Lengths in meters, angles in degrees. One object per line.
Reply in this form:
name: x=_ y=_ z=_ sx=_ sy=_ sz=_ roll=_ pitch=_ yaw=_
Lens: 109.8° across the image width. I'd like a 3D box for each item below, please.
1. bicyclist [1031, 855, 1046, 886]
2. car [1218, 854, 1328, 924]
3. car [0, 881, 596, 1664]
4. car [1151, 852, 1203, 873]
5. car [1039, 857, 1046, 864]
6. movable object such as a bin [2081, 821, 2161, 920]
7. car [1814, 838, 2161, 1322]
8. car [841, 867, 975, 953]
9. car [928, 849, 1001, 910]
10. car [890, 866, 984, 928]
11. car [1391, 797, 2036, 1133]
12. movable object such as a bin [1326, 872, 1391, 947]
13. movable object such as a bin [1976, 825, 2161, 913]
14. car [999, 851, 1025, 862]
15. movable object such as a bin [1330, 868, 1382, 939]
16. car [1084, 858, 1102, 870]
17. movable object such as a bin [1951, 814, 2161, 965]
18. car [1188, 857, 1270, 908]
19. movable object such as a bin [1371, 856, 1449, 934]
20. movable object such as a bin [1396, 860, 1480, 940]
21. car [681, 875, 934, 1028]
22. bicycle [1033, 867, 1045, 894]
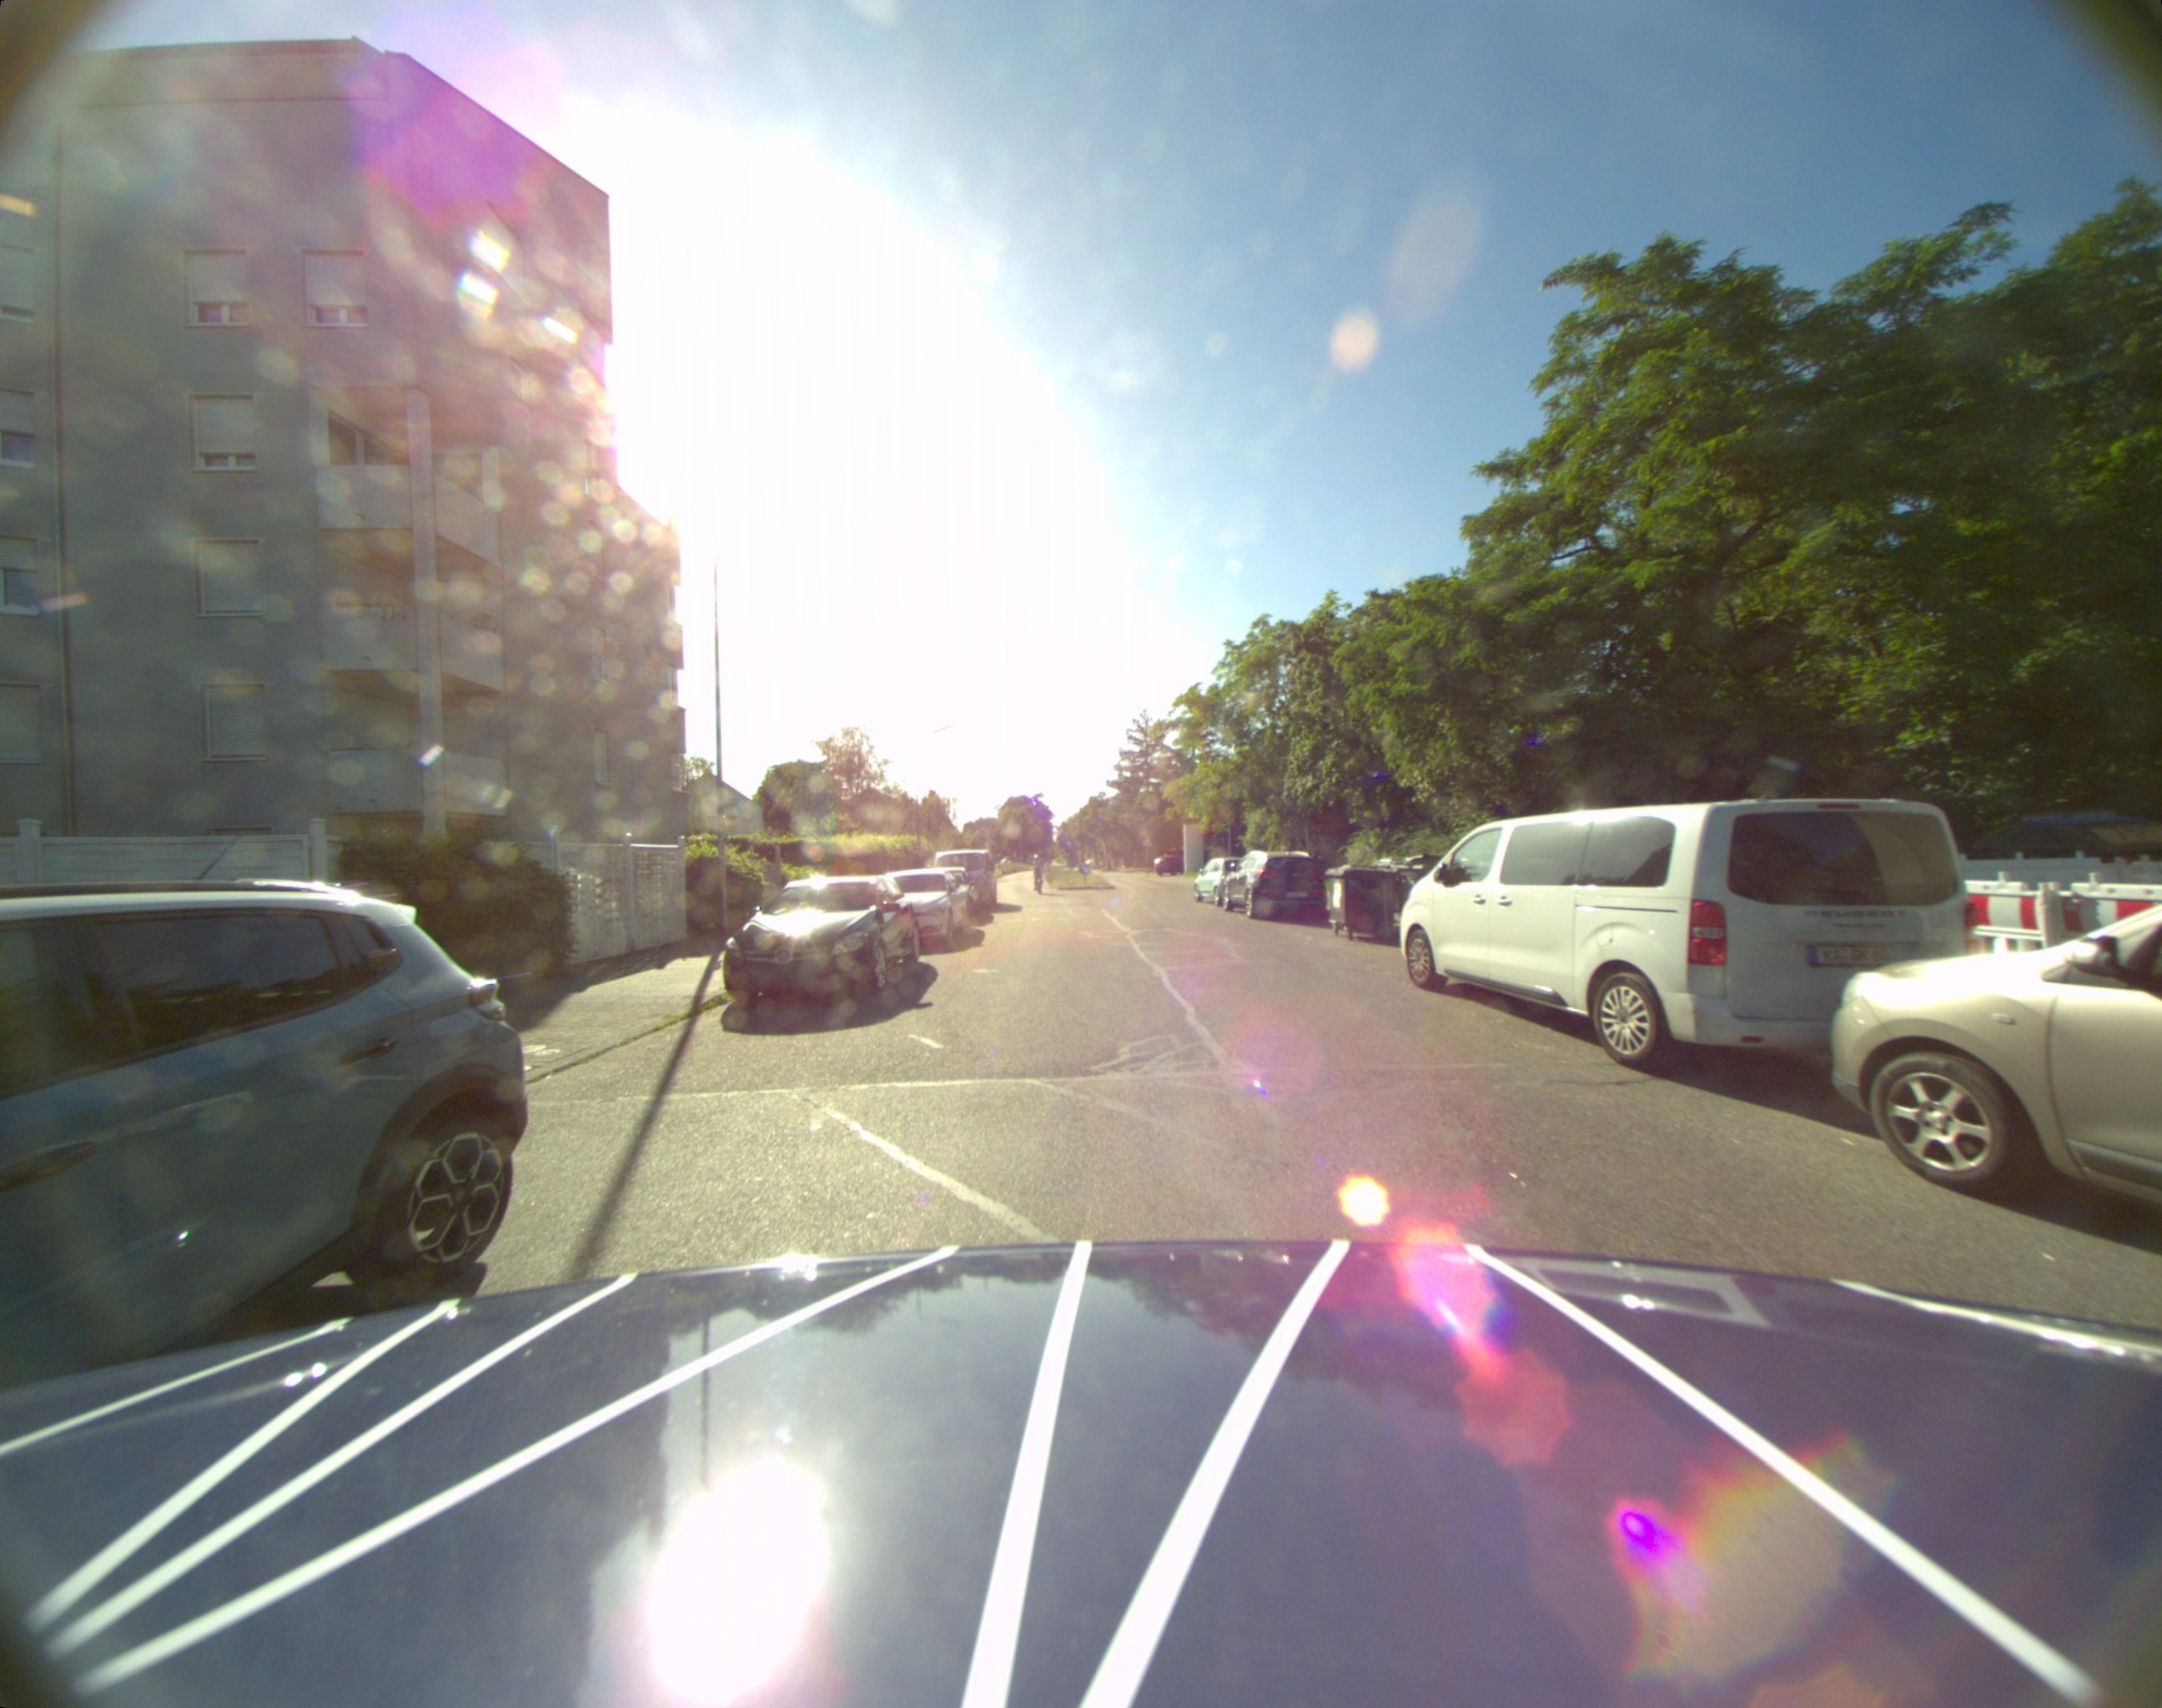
bicyclist: x=-1.917 y=0.739 z=34.209 sx=0.638 sy=1.339 sz=0.838 roll=-1 pitch=1 yaw=-6
car: x=4.845 y=0.833 z=19.781 sx=1.679 sy=1.629 sz=4.250 roll=0 pitch=0 yaw=-2
car: x=-3.369 y=0.986 z=1.605 sx=1.915 sy=1.656 sz=4.374 roll=-1 pitch=0 yaw=-1
car: x=8.153 y=0.681 z=64.431 sx=4.193 sy=1.695 sz=1.914 roll=0 pitch=0 yaw=-36
car: x=-10.606 y=1.744 z=209.456 sx=1.999 sy=1.805 sz=3.999 roll=-1 pitch=0 yaw=-2
movable object such as a bin: x=16.002 y=0.218 z=10.921 sx=1.278 sy=1.400 sz=1.510 roll=-1 pitch=0 yaw=6
car: x=4.569 y=0.785 z=1.793 sx=1.559 sy=1.712 sz=4.341 roll=-1 pitch=0 yaw=1
car: x=-3.486 y=1.067 z=16.208 sx=1.915 sy=1.480 sz=4.374 roll=-1 pitch=0 yaw=-1
car: x=-3.967 y=0.806 z=26.636 sx=1.999 sy=1.901 sz=4.952 roll=-1 pitch=0 yaw=-3
car: x=-3.832 y=1.093 z=21.091 sx=1.999 sy=1.409 sz=4.921 roll=-1 pitch=0 yaw=-4
car: x=4.691 y=0.663 z=6.815 sx=1.868 sy=1.949 sz=4.670 roll=-1 pitch=0 yaw=0
movable object such as a bin: x=5.135 y=1.005 z=14.137 sx=0.805 sy=1.308 sz=1.322 roll=-1 pitch=-1 yaw=5
movable object such as a bin: x=16.266 y=0.229 z=12.518 sx=1.278 sy=1.347 sz=1.510 roll=-1 pitch=0 yaw=6
car: x=-10.621 y=0.407 z=117.665 sx=3.657 sy=1.707 sz=1.744 roll=-1 pitch=0 yaw=-39
movable object such as a bin: x=5.541 y=0.970 z=15.385 sx=0.610 sy=1.332 sz=1.269 roll=-1 pitch=0 yaw=2
car: x=1.698 y=1.507 z=110.824 sx=2.000 sy=1.649 sz=3.997 roll=-1 pitch=0 yaw=-8
movable object such as a bin: x=11.077 y=0.361 z=8.501 sx=1.262 sy=1.542 sz=1.279 roll=-1 pitch=0 yaw=-6
car: x=4.792 y=0.883 z=25.007 sx=1.631 sy=1.518 sz=3.417 roll=-1 pitch=0 yaw=-7
movable object such as a bin: x=6.549 y=0.799 z=15.169 sx=1.065 sy=1.459 sz=0.893 roll=-3 pitch=1 yaw=-11
movable object such as a bin: x=6.676 y=0.837 z=14.253 sx=1.065 sy=1.392 sz=0.893 roll=-2 pitch=0 yaw=-11
car: x=-3.363 y=1.114 z=10.369 sx=1.915 sy=1.480 sz=4.374 roll=-1 pitch=0 yaw=-1
bicycle: x=-1.913 y=1.164 z=34.148 sx=0.458 sy=1.138 sz=1.897 roll=-1 pitch=0 yaw=-6
